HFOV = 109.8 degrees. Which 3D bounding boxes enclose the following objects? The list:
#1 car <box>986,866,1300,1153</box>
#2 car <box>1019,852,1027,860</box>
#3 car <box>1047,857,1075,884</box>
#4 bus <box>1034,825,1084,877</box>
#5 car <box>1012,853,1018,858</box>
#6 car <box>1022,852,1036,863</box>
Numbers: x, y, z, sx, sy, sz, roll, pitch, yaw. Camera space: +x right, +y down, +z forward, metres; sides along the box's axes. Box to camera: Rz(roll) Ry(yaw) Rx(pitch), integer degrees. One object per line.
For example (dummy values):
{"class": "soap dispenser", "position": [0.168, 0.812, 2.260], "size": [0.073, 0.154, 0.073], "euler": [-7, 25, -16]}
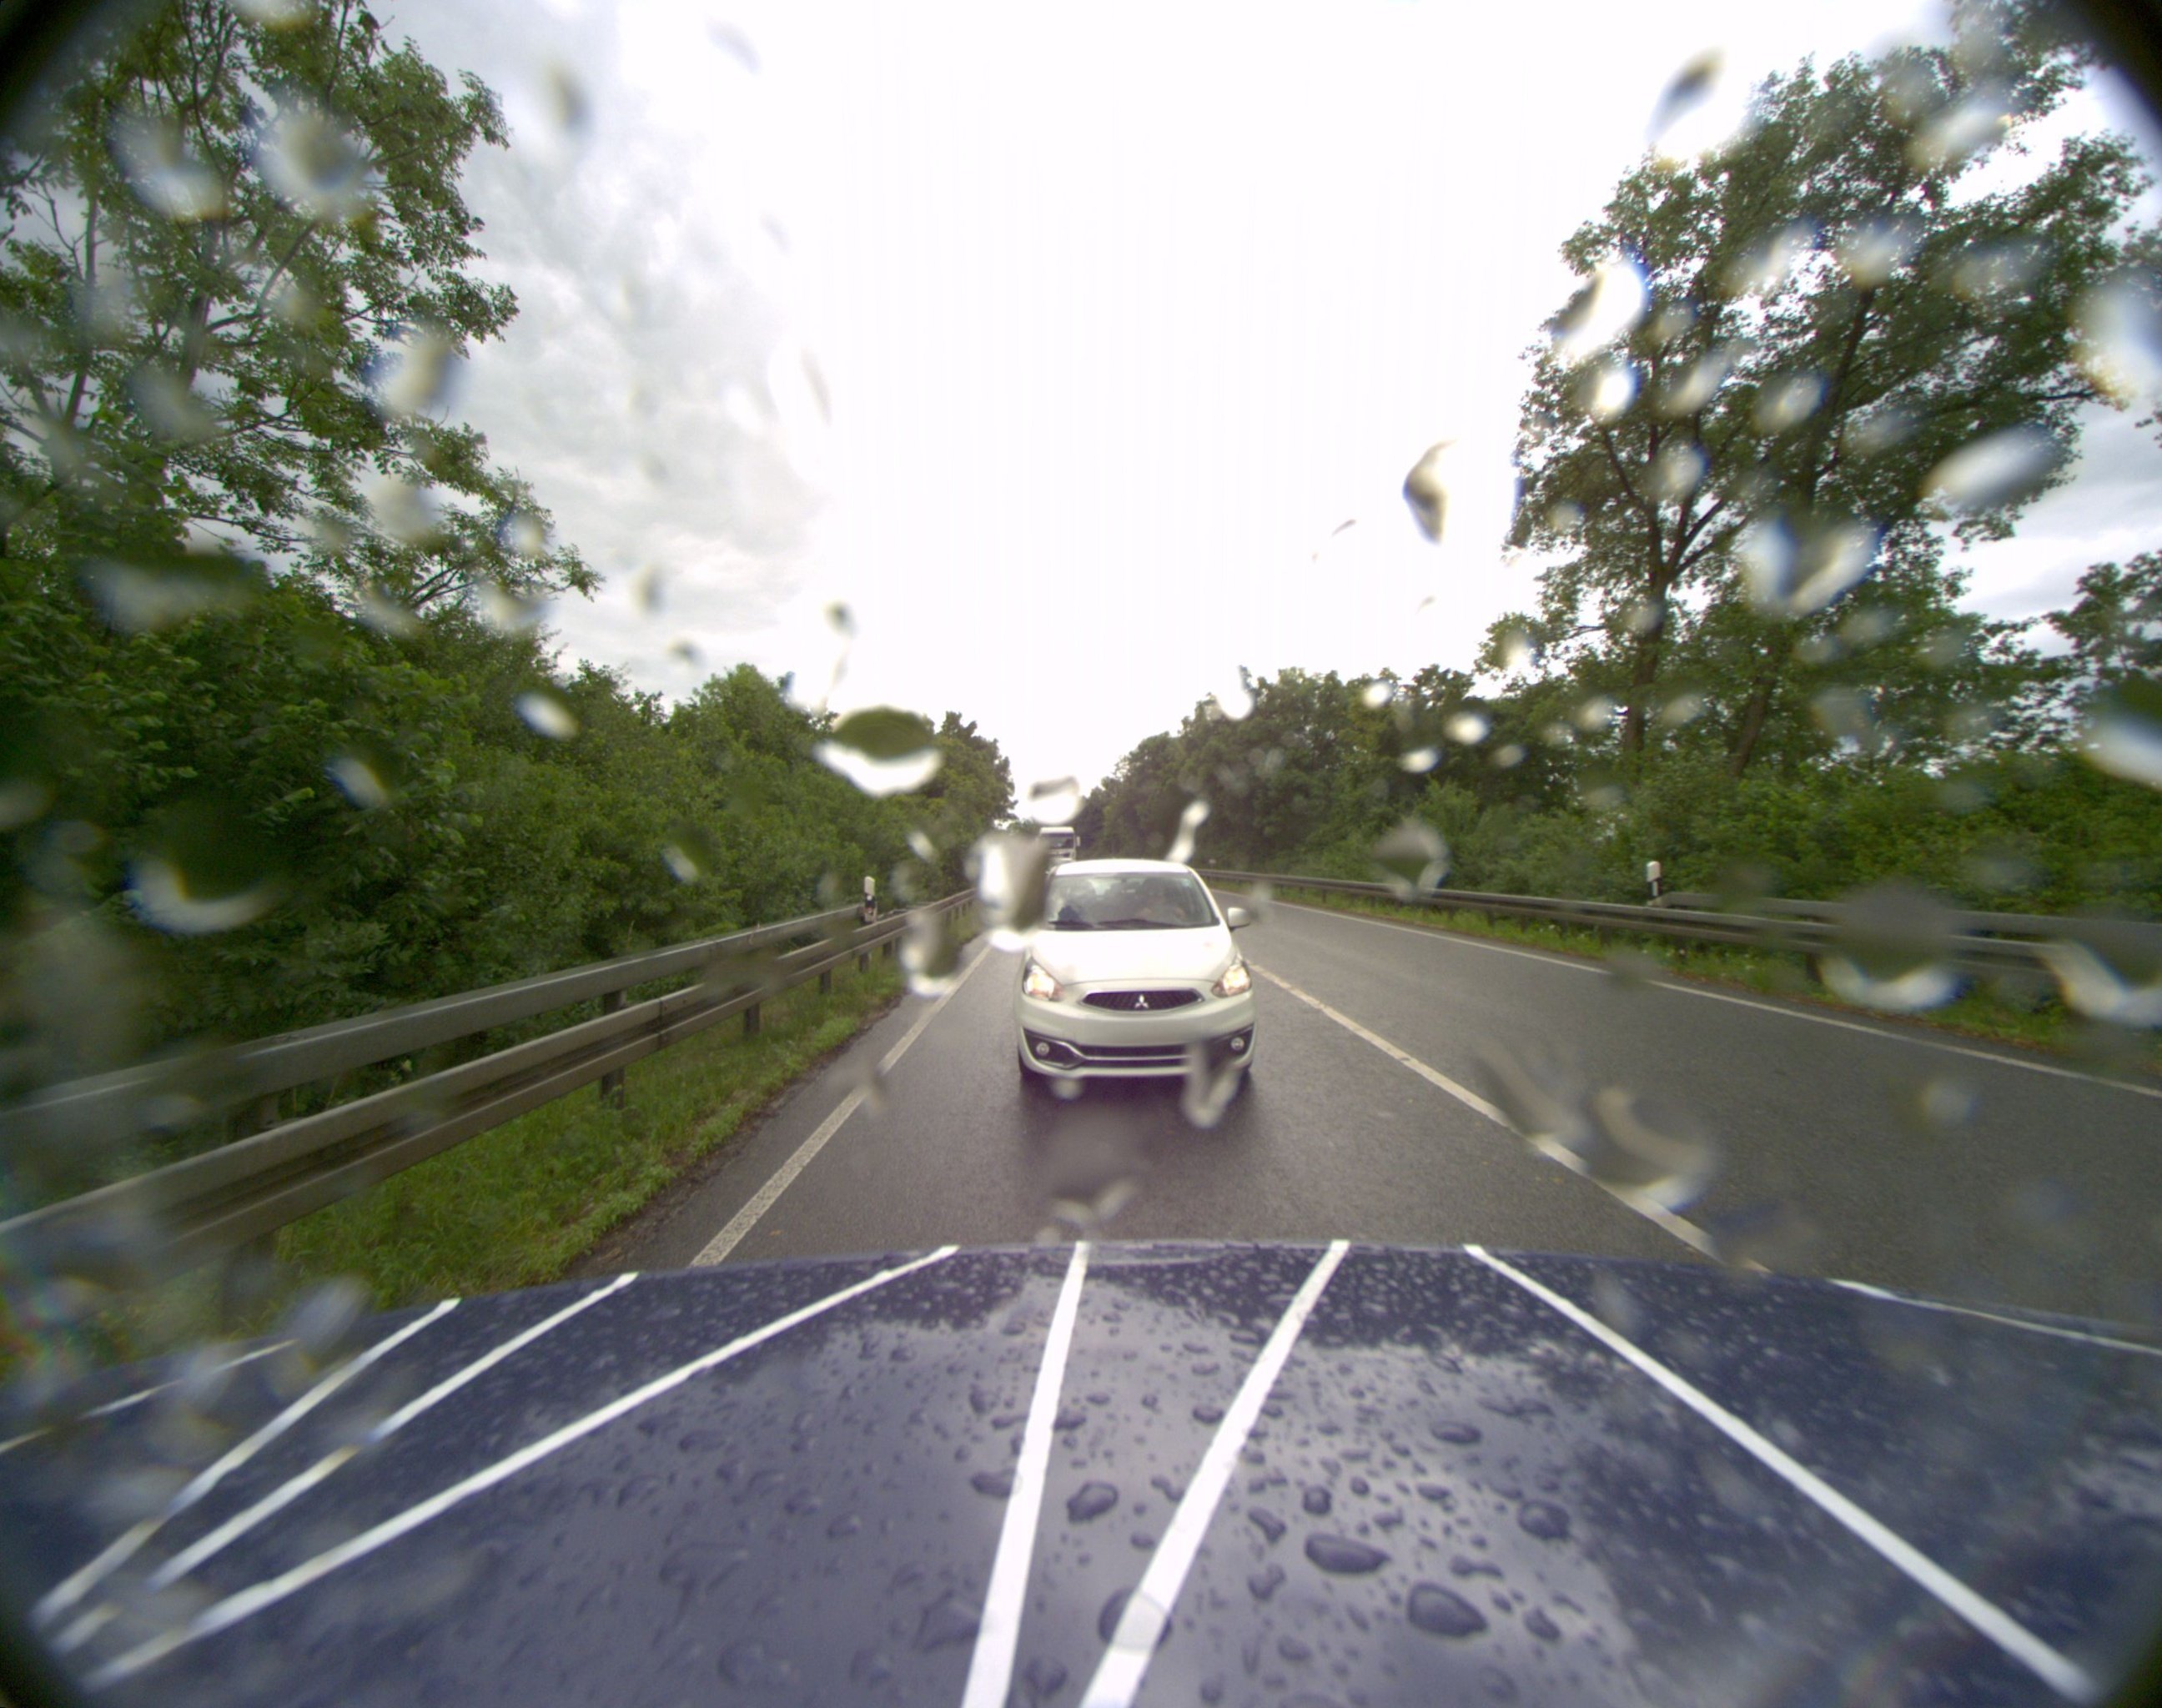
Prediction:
{"class": "car", "position": [0.353, 0.896, 6.243], "size": [1.701, 1.471, 4.063], "euler": [-2, 0, 0]}
{"class": "car", "position": [-12.391, 0.376, 161.279], "size": [1.421, 1.611, 3.477], "euler": [-2, 0, -7]}
{"class": "car", "position": [-1.087, 0.884, 41.254], "size": [1.476, 1.410, 3.428], "euler": [-1, -1, -1]}
{"class": "bus", "position": [-1.892, -0.197, 57.560], "size": [3.064, 3.405, 13.634], "euler": [-2, 0, -4]}
{"class": "car", "position": [-15.142, 0.338, 175.243], "size": [1.145, 1.123, 2.550], "euler": [-2, 0, -10]}
{"class": "car", "position": [-9.128, 0.612, 132.306], "size": [2.000, 1.936, 3.996], "euler": [-2, 0, -10]}
